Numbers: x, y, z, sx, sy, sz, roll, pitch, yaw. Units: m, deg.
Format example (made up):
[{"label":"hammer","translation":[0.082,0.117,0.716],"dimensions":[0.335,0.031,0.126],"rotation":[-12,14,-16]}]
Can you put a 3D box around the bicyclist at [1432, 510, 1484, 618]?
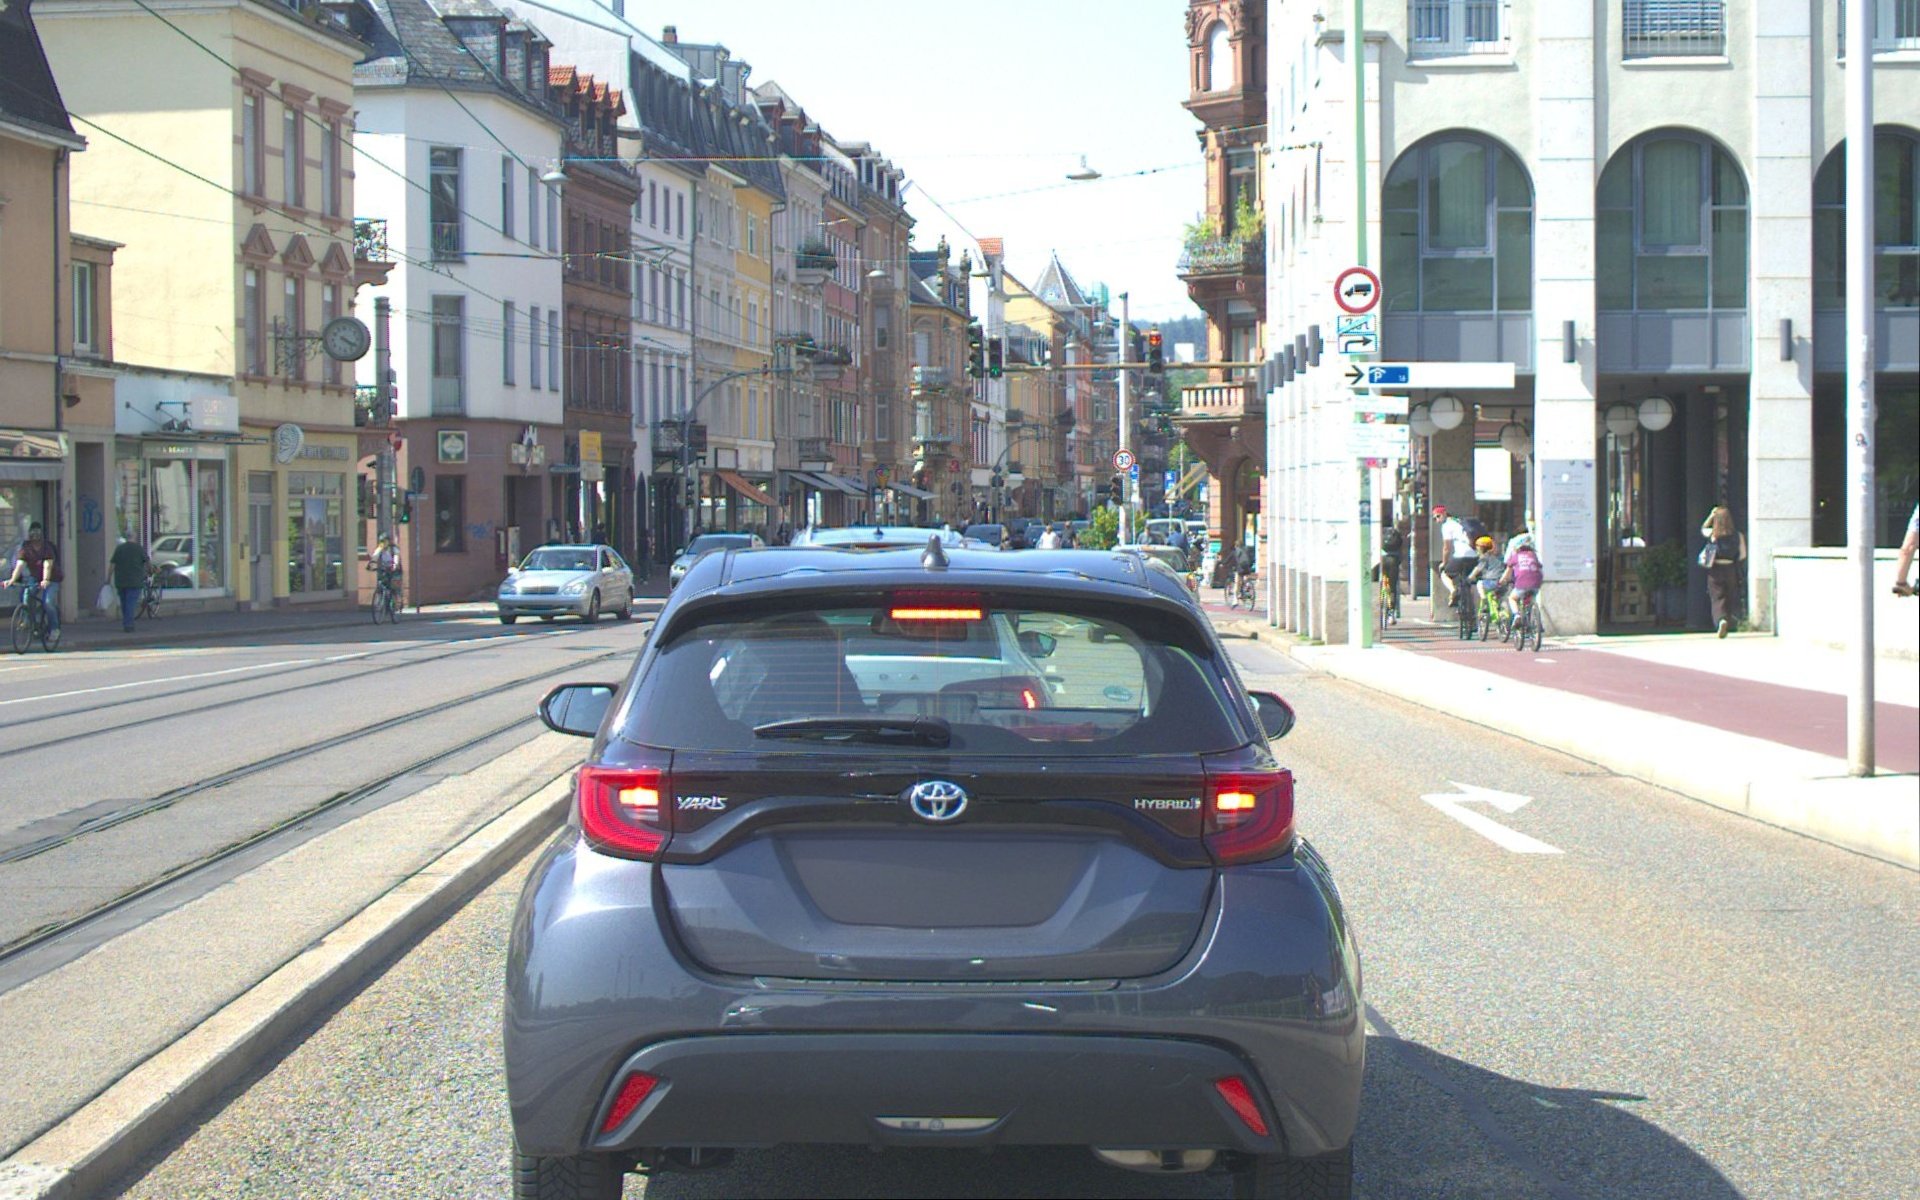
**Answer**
[{"label":"bicyclist","translation":[6.811,-0.489,47.000],"dimensions":[0.484,1.461,0.443],"rotation":[-3,1,-39]}]

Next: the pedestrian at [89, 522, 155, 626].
[{"label":"pedestrian","translation":[-13.747,-0.428,56.402],"dimensions":[0.762,1.648,0.711],"rotation":[4,1,5]}]

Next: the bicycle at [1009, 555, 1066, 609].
[{"label":"bicycle","translation":[2.182,-0.516,96.229],"dimensions":[1.112,1.415,3.006],"rotation":[3,1,9]}]

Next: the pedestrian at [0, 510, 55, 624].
[{"label":"pedestrian","translation":[-14.960,-0.526,54.795],"dimensions":[0.736,1.760,0.787],"rotation":[4,1,0]}]

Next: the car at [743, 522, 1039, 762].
[{"label":"car","translation":[-0.487,0.232,24.378],"dimensions":[1.897,1.525,4.000],"rotation":[1,1,-1]}]

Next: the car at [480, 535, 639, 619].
[{"label":"car","translation":[-7.202,-0.441,62.205],"dimensions":[1.732,1.455,4.372],"rotation":[0,1,9]}]

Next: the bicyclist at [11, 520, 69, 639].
[{"label":"bicyclist","translation":[-13.024,-0.296,48.670],"dimensions":[0.627,1.644,0.622],"rotation":[2,2,0]}]

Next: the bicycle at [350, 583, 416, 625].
[{"label":"bicycle","translation":[-11.011,0.073,65.679],"dimensions":[0.620,0.713,2.044],"rotation":[2,2,9]}]

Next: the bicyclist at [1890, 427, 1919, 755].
[{"label":"bicyclist","translation":[5.578,-0.056,19.081],"dimensions":[0.586,1.814,0.702],"rotation":[-1,1,-3]}]

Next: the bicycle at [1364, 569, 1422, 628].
[{"label":"bicycle","translation":[6.783,-0.025,53.924],"dimensions":[0.704,0.879,1.525],"rotation":[-1,1,0]}]

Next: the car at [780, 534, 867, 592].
[{"label":"car","translation":[-3.672,-1.019,93.104],"dimensions":[1.794,1.540,3.920],"rotation":[0,1,6]}]

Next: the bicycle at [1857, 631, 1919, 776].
[{"label":"bicycle","translation":[5.585,0.580,19.134],"dimensions":[0.593,0.763,1.867],"rotation":[-1,1,-3]}]

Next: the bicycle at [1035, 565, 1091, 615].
[{"label":"bicycle","translation":[3.141,-0.305,104.588],"dimensions":[1.113,1.415,3.005],"rotation":[4,1,12]}]

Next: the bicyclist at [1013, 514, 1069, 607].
[{"label":"bicyclist","translation":[2.270,-1.101,96.165],"dimensions":[1.229,2.520,1.104],"rotation":[4,1,12]}]

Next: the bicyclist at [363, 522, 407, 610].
[{"label":"bicyclist","translation":[-10.985,-0.661,65.674],"dimensions":[0.627,1.644,0.621],"rotation":[2,2,8]}]

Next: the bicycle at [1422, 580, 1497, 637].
[{"label":"bicycle","translation":[6.825,0.120,47.013],"dimensions":[0.416,0.763,0.961],"rotation":[-3,1,-39]}]

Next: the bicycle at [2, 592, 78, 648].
[{"label":"bicycle","translation":[-13.039,0.271,48.759],"dimensions":[0.620,0.713,1.731],"rotation":[1,2,-1]}]

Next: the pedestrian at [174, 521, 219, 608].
[{"label":"pedestrian","translation":[-14.600,-0.686,65.750],"dimensions":[0.649,1.596,0.566],"rotation":[4,3,0]}]

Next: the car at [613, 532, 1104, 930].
[{"label":"car","translation":[-0.437,0.477,15.498],"dimensions":[1.897,1.525,4.000],"rotation":[1,1,-1]}]

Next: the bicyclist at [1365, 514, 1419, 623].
[{"label":"bicyclist","translation":[6.771,-0.503,53.955],"dimensions":[0.701,1.689,0.924],"rotation":[-1,1,0]}]

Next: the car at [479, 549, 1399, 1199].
[{"label":"car","translation":[-0.078,0.636,8.347],"dimensions":[1.720,1.468,3.658],"rotation":[1,1,-1]}]

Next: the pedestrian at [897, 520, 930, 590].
[{"label":"pedestrian","translation":[-1.766,-1.726,131.213],"dimensions":[1.051,2.579,1.501],"rotation":[4,1,0]}]

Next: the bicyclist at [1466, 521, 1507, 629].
[{"label":"bicyclist","translation":[6.833,-0.325,44.646],"dimensions":[0.422,1.378,0.443],"rotation":[-2,1,-1]}]

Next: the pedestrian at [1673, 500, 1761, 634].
[{"label":"pedestrian","translation":[9.470,-0.411,43.055],"dimensions":[0.739,1.609,1.016],"rotation":[4,1,-1]}]

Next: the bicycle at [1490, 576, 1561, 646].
[{"label":"bicycle","translation":[6.603,0.120,40.199],"dimensions":[0.514,0.763,1.661],"rotation":[-2,1,-1]}]

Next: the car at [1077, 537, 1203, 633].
[{"label":"car","translation":[2.895,-0.275,56.082],"dimensions":[1.705,1.461,4.326],"rotation":[1,1,-1]}]

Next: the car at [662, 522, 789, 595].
[{"label":"car","translation":[-5.268,-0.946,77.712],"dimensions":[1.994,1.581,4.651],"rotation":[0,1,7]}]

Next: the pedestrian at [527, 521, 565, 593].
[{"label":"pedestrian","translation":[-10.522,-1.098,87.370],"dimensions":[0.736,1.760,0.787],"rotation":[4,1,0]}]

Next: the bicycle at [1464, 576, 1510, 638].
[{"label":"bicycle","translation":[6.842,0.087,44.659],"dimensions":[0.416,0.763,0.962],"rotation":[-2,1,-1]}]

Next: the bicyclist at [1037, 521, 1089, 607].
[{"label":"bicyclist","translation":[3.140,-1.086,104.733],"dimensions":[1.228,2.520,1.104],"rotation":[4,1,11]}]

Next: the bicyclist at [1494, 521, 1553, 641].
[{"label":"bicyclist","translation":[6.586,-0.231,40.216],"dimensions":[0.534,1.378,0.669],"rotation":[-2,1,-1]}]

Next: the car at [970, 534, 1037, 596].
[{"label":"car","translation":[1.485,-1.164,115.572],"dimensions":[1.994,2.007,3.999],"rotation":[1,0,4]}]
